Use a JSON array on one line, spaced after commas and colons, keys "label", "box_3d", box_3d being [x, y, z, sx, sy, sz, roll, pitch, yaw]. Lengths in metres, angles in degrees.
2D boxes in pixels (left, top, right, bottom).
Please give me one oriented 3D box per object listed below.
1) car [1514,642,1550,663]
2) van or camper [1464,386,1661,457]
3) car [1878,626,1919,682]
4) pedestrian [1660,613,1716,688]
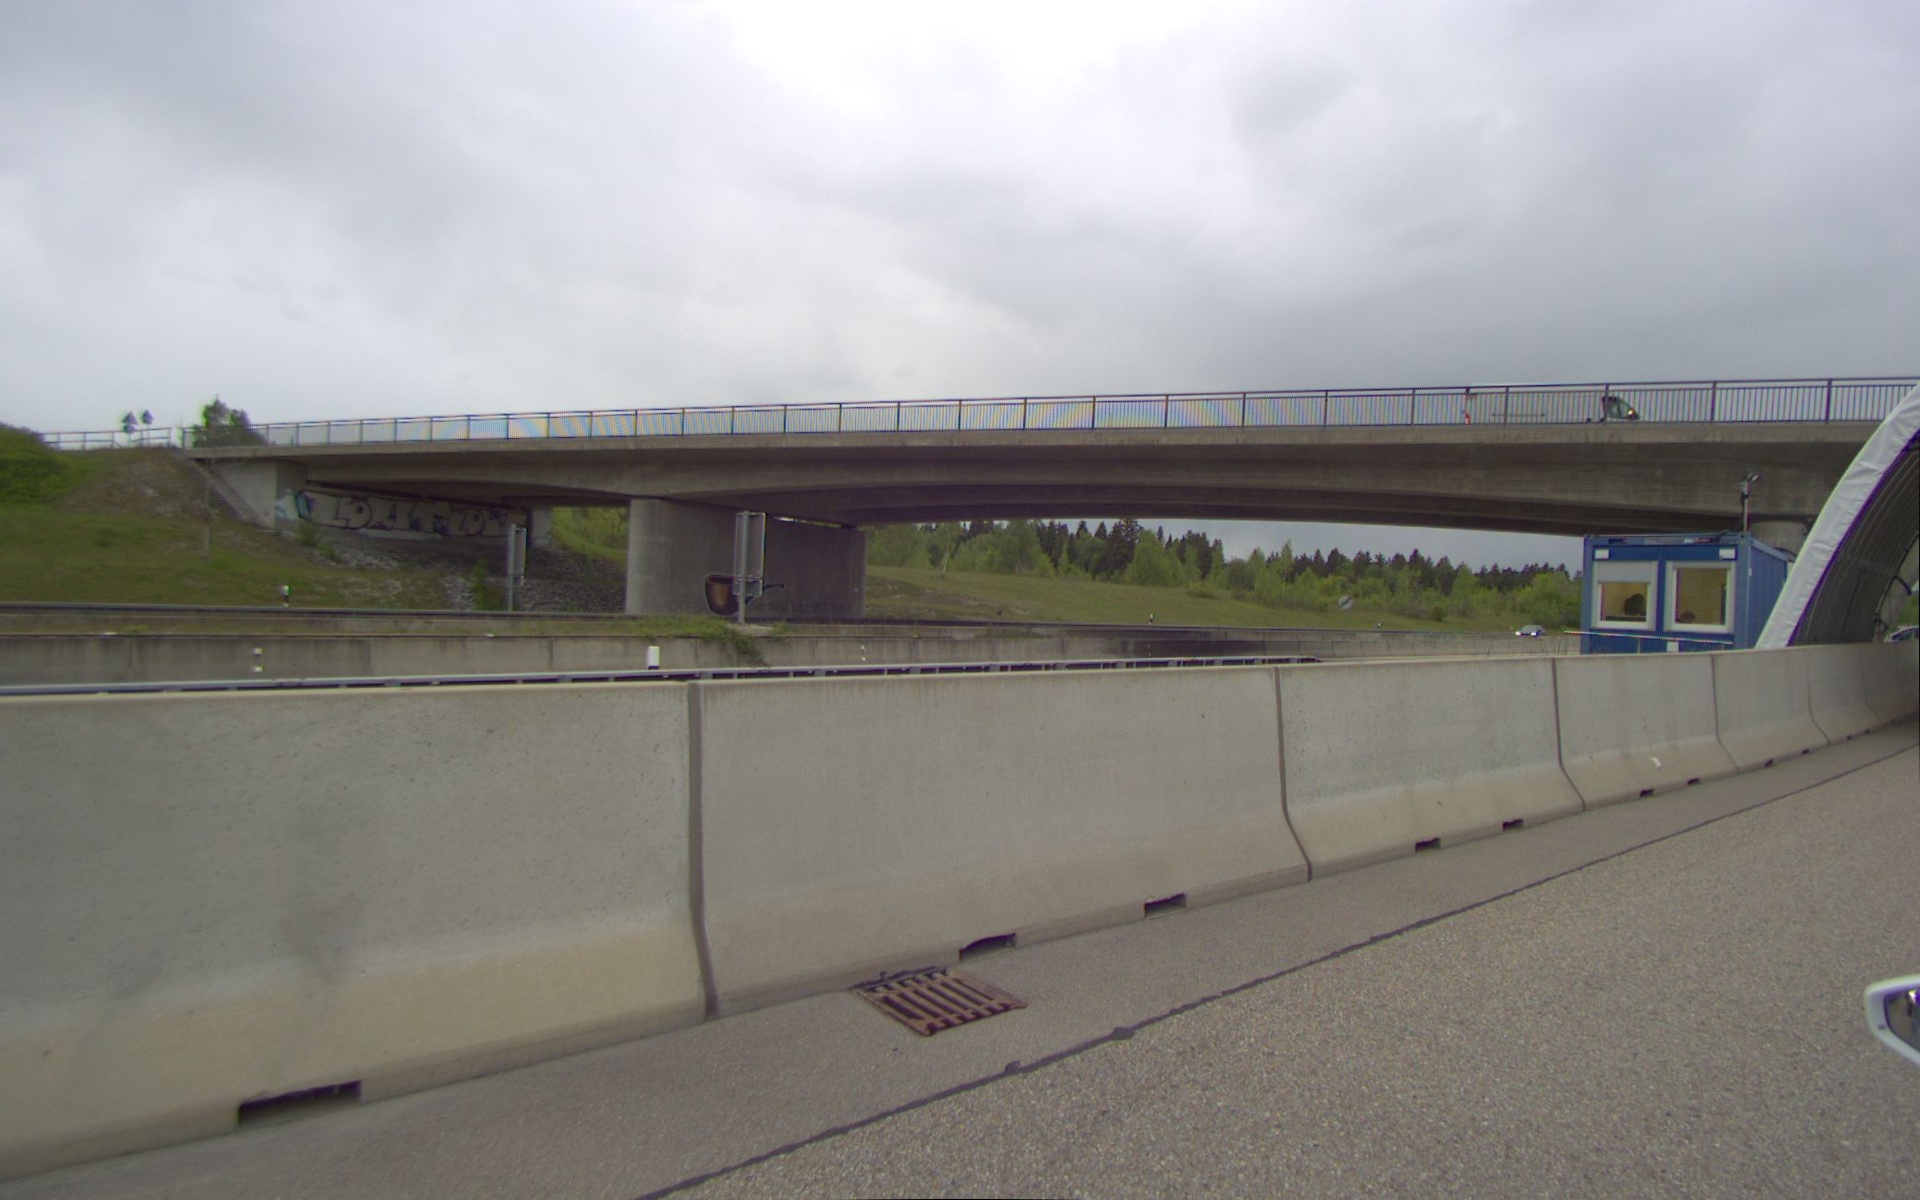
[{"label": "car", "box_3d": [58.301, 5.308, 102.326, 1.964, 1.981, 5.079, 0, -2, 44]}, {"label": "van or camper", "box_3d": [19.866, -5.882, 33.444, 5.347, 1.793, 1.896, 2, 0, 22]}, {"label": "car", "box_3d": [36.793, 2.018, 36.485, 1.814, 2.040, 4.797, 2, -1, -22]}, {"label": "pedestrian", "box_3d": [13.752, 0.942, 18.982, 0.618, 1.391, 0.609, 2, -1, -21]}]
